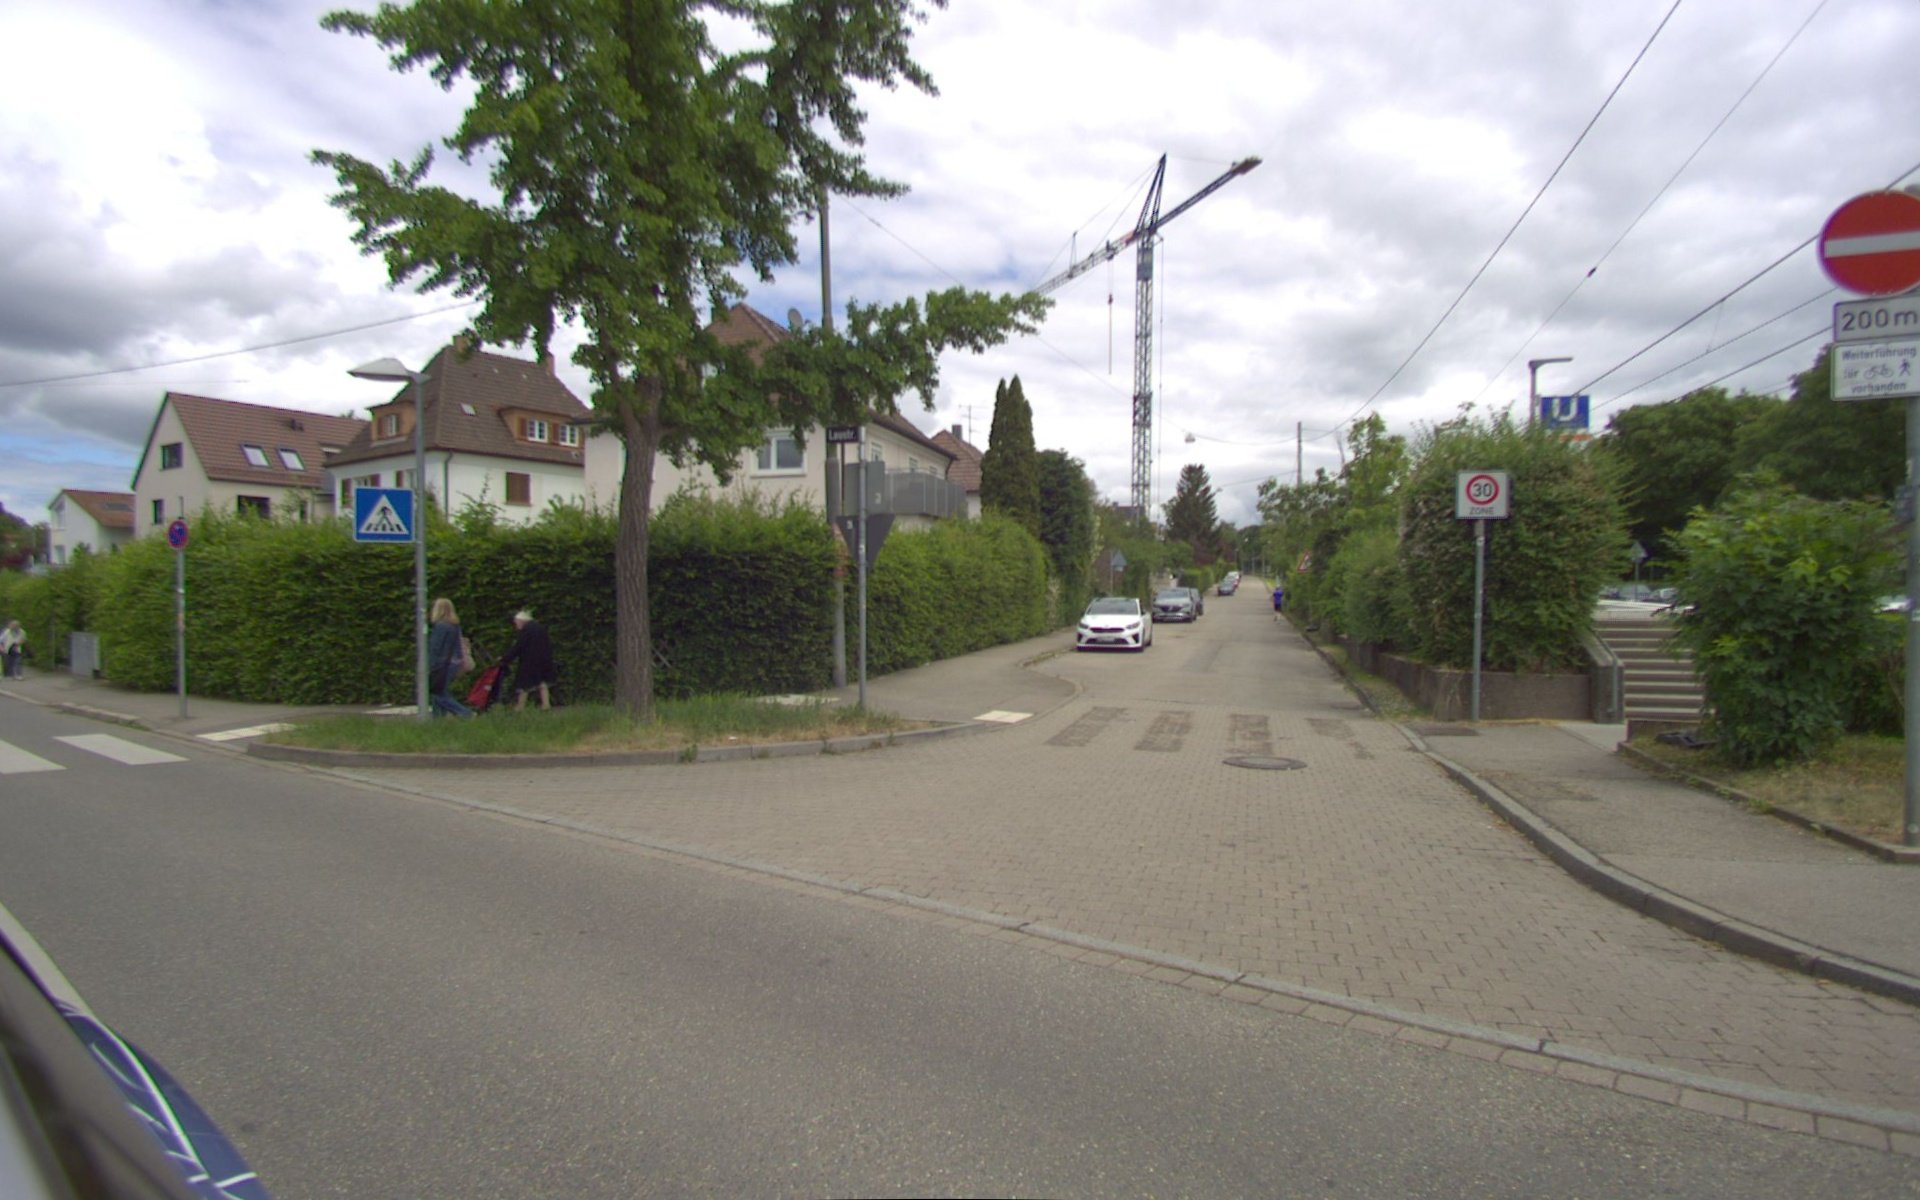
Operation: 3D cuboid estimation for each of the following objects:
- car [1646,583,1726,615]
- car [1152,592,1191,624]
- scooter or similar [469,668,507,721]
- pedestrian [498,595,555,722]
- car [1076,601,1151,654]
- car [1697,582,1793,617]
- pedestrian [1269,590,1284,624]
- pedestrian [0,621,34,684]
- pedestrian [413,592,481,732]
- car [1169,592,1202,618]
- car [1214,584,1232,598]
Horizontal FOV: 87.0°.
[{"bbox_3d":[33.952,-0.062,47.443,1.839,1.386,3.978,-1,0,17],"label":"car"},{"bbox_3d":[10.204,0.366,48.947,1.752,1.453,3.772,-1,0,11],"label":"car"},{"bbox_3d":[-6.303,1.257,13.530,0.393,0.614,0.490,-3,2,-19],"label":"scooter or similar"},{"bbox_3d":[-5.836,0.761,13.653,0.588,1.632,0.680,-3,1,-19],"label":"pedestrian"},{"bbox_3d":[4.270,0.699,27.777,1.764,1.322,3.757,0,0,13],"label":"car"},{"bbox_3d":[32.928,-0.031,42.603,1.839,1.386,3.978,-1,0,17],"label":"car"},{"bbox_3d":[14.565,0.300,46.609,0.639,1.542,0.660,1,1,17],"label":"pedestrian"},{"bbox_3d":[-23.855,1.307,25.389,0.542,1.542,0.742,-1,1,27],"label":"pedestrian"},{"bbox_3d":[-6.261,0.730,12.391,0.588,1.632,0.680,-3,1,-19],"label":"pedestrian"},{"bbox_3d":[13.321,0.298,59.575,1.754,1.453,3.766,-1,0,15],"label":"car"},{"bbox_3d":[28.714,-0.950,110.517,1.755,1.453,3.765,-1,0,16],"label":"car"}]
